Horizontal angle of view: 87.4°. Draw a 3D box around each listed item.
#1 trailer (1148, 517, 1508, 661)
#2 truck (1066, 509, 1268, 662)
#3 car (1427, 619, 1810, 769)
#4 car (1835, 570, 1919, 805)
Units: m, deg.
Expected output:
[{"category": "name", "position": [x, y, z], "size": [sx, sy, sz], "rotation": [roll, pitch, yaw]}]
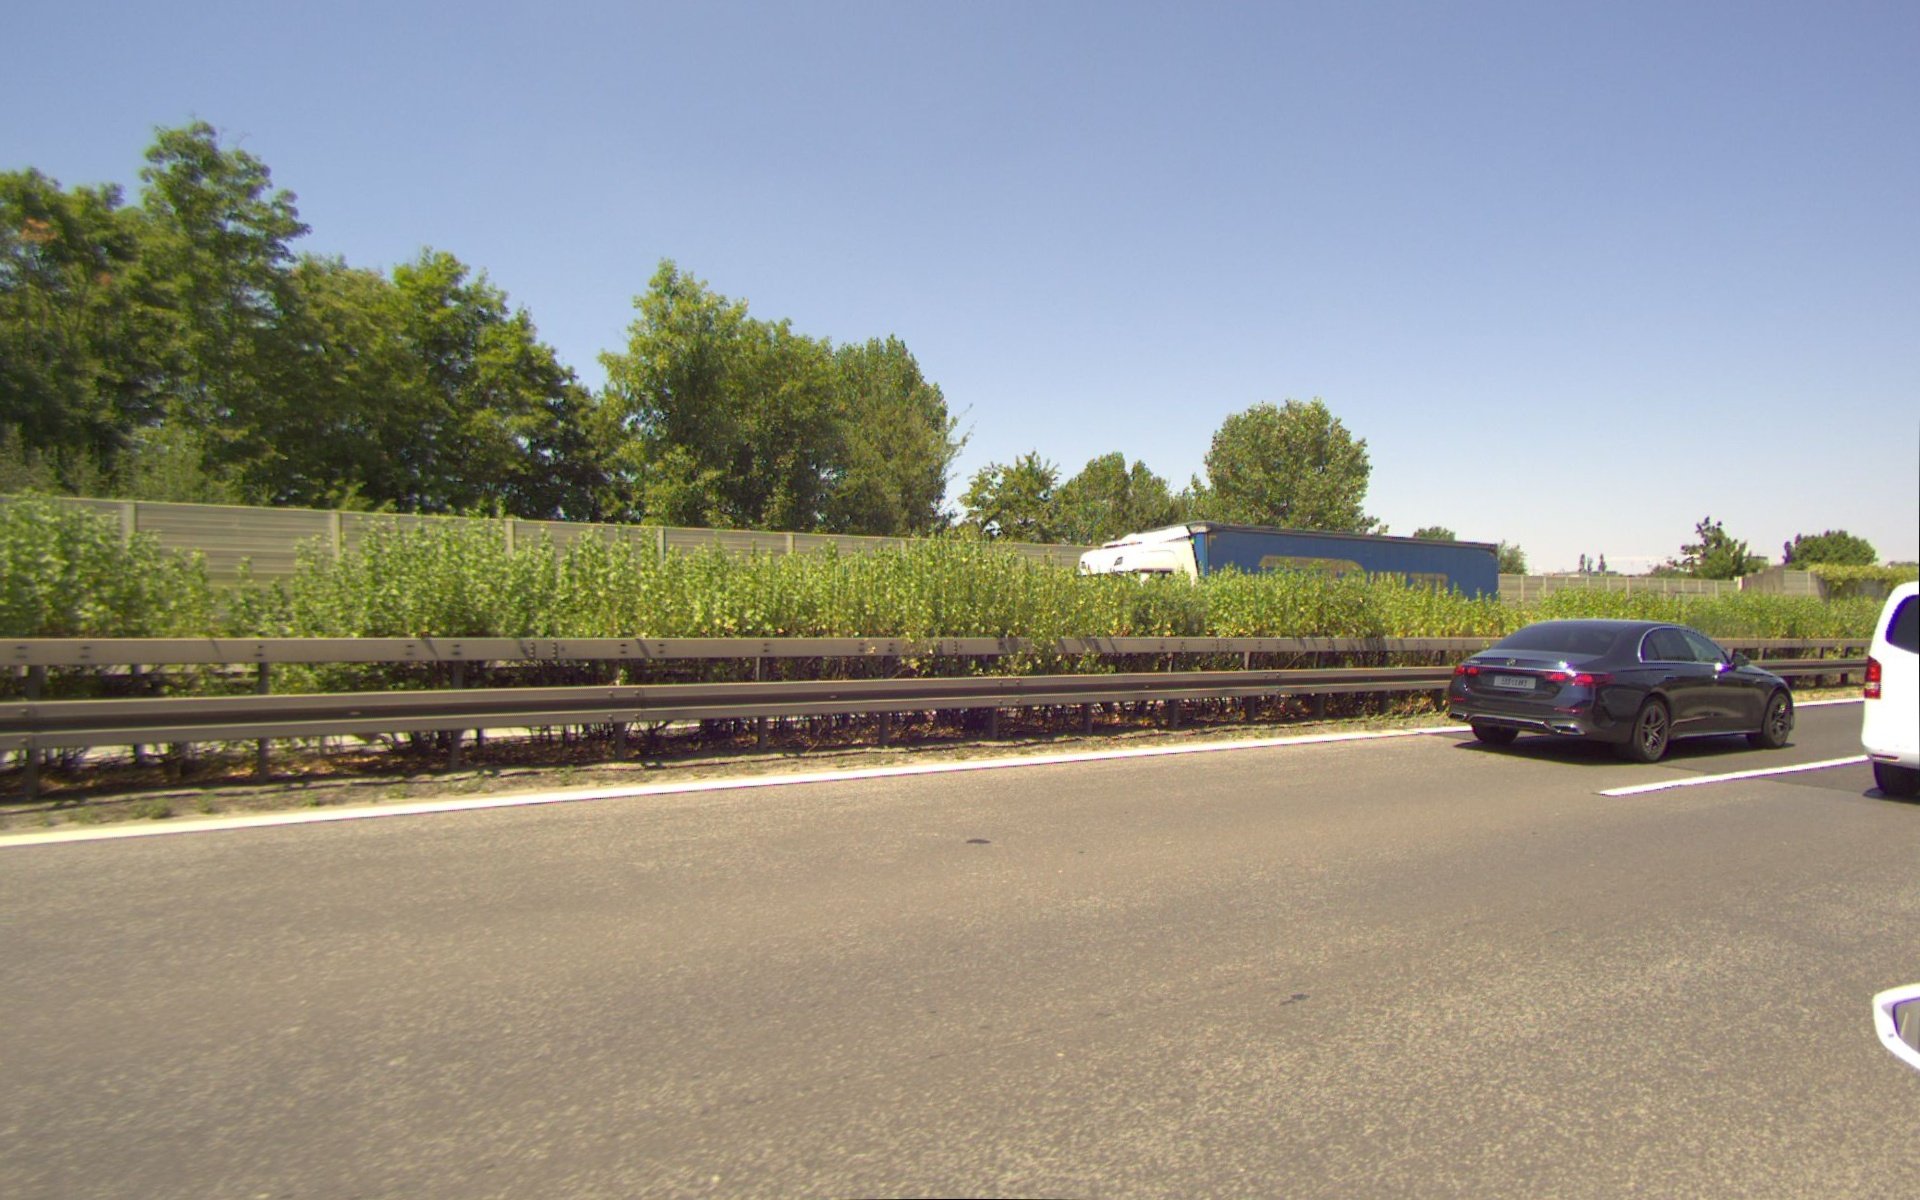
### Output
[{"category": "trailer", "position": [12.023, -0.195, 31.717], "size": [13.513, 3.904, 2.693], "rotation": [1, 0, -31]}, {"category": "truck", "position": [5.775, -0.327, 28.020], "size": [5.032, 3.904, 2.658], "rotation": [1, 0, -30]}, {"category": "car", "position": [7.829, 0.964, 11.801], "size": [4.980, 1.427, 1.748], "rotation": [1, 0, -30]}, {"category": "car", "position": [9.872, 0.731, 8.830], "size": [4.637, 1.876, 1.921], "rotation": [1, 0, -30]}]
